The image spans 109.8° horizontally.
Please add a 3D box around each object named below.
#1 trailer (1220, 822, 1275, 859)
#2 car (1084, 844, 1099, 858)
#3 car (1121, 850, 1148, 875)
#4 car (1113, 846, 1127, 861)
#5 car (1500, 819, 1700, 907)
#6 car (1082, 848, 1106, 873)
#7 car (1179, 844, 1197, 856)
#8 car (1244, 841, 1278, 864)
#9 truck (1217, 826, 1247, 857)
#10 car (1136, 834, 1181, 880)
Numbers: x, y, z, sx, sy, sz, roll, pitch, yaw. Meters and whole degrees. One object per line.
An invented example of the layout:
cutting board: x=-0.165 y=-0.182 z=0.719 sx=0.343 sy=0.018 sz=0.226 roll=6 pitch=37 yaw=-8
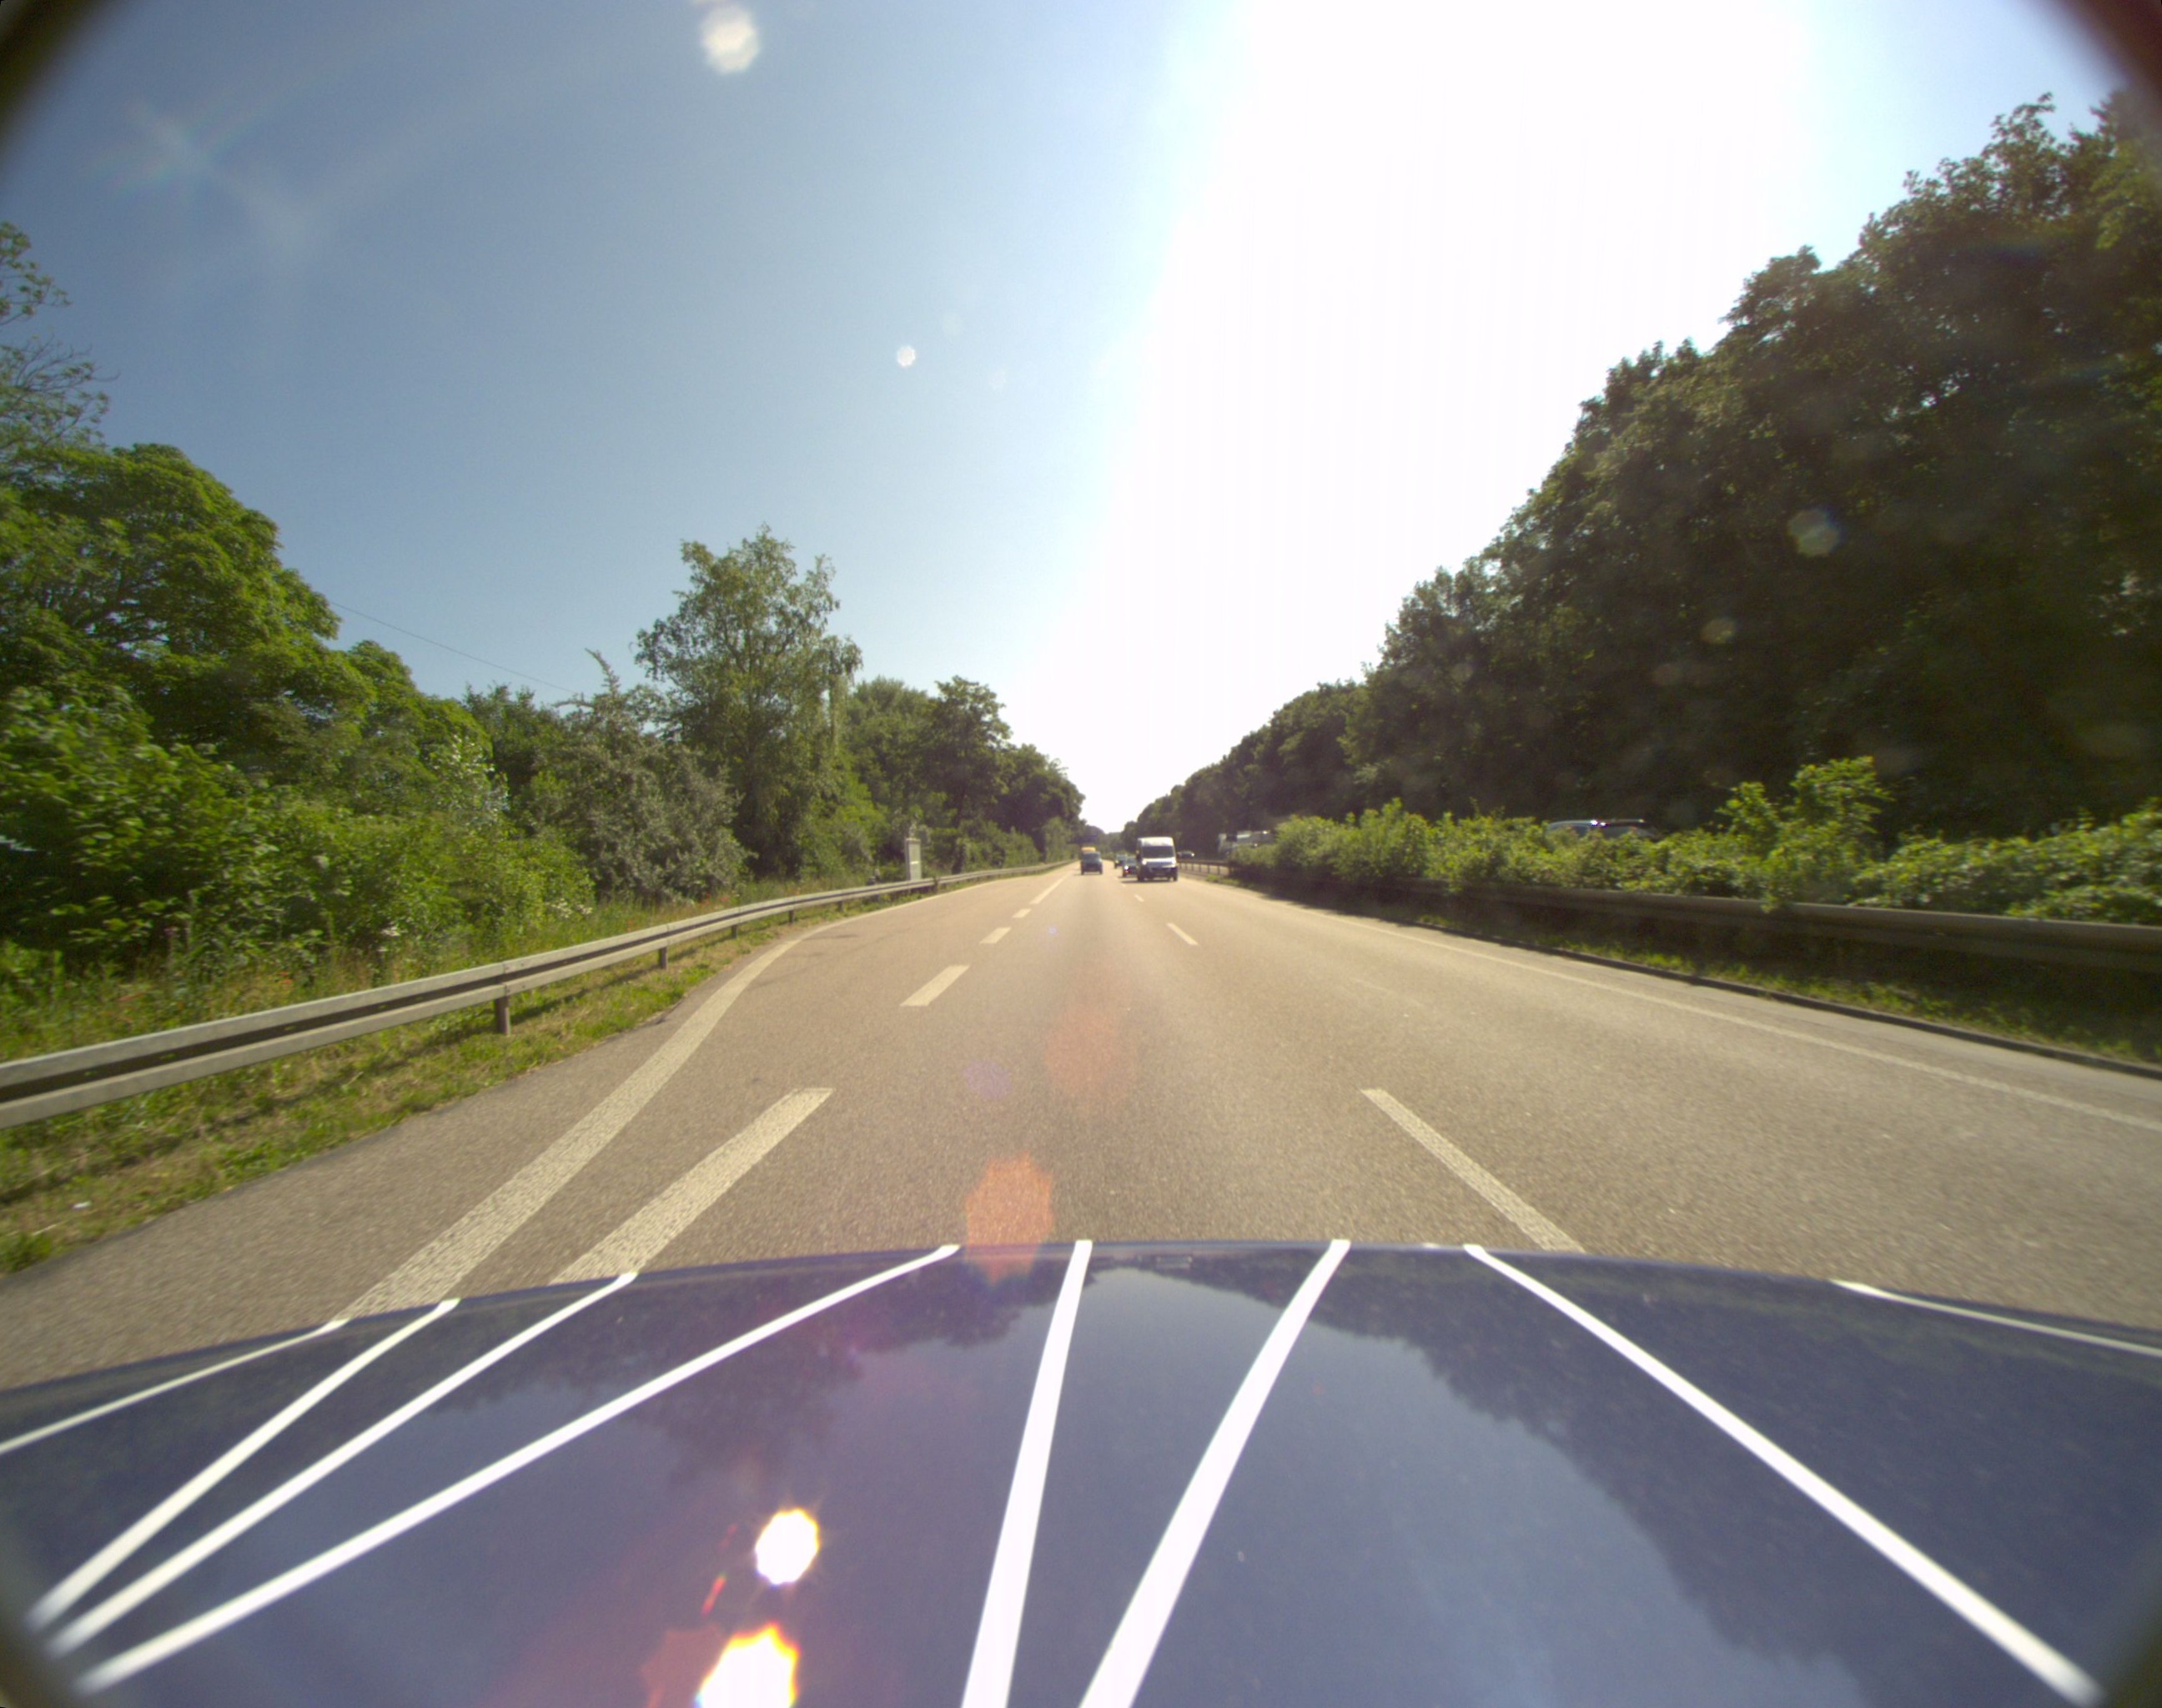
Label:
trailer: x=16.407 y=-1.260 z=76.174 sx=2.499 sy=3.216 sz=14.431 roll=-2 pitch=0 yaw=1
car: x=1.303 y=-0.350 z=91.688 sx=1.737 sy=1.624 sz=3.899 roll=-2 pitch=0 yaw=1
car: x=3.694 y=0.543 z=52.942 sx=1.666 sy=1.624 sz=3.644 roll=-2 pitch=0 yaw=1
car: x=4.669 y=-0.065 z=90.759 sx=1.517 sy=1.624 sz=3.611 roll=-2 pitch=0 yaw=1
car: x=12.246 y=0.172 z=18.379 sx=1.847 sy=1.792 sz=4.551 roll=-2 pitch=0 yaw=2
car: x=1.085 y=0.488 z=63.068 sx=1.812 sy=1.921 sz=4.581 roll=-2 pitch=0 yaw=1
car: x=13.693 y=-0.501 z=97.395 sx=1.727 sy=1.471 sz=4.244 roll=-1 pitch=0 yaw=1
car: x=12.657 y=-0.128 z=53.525 sx=1.568 sy=1.539 sz=3.650 roll=-2 pitch=0 yaw=1
truck: x=16.540 y=-1.349 z=83.504 sx=2.431 sy=3.239 sz=4.000 roll=-2 pitch=1 yaw=1
car: x=4.351 y=0.166 z=43.432 sx=2.046 sy=2.429 sz=4.637 roll=-2 pitch=0 yaw=1
